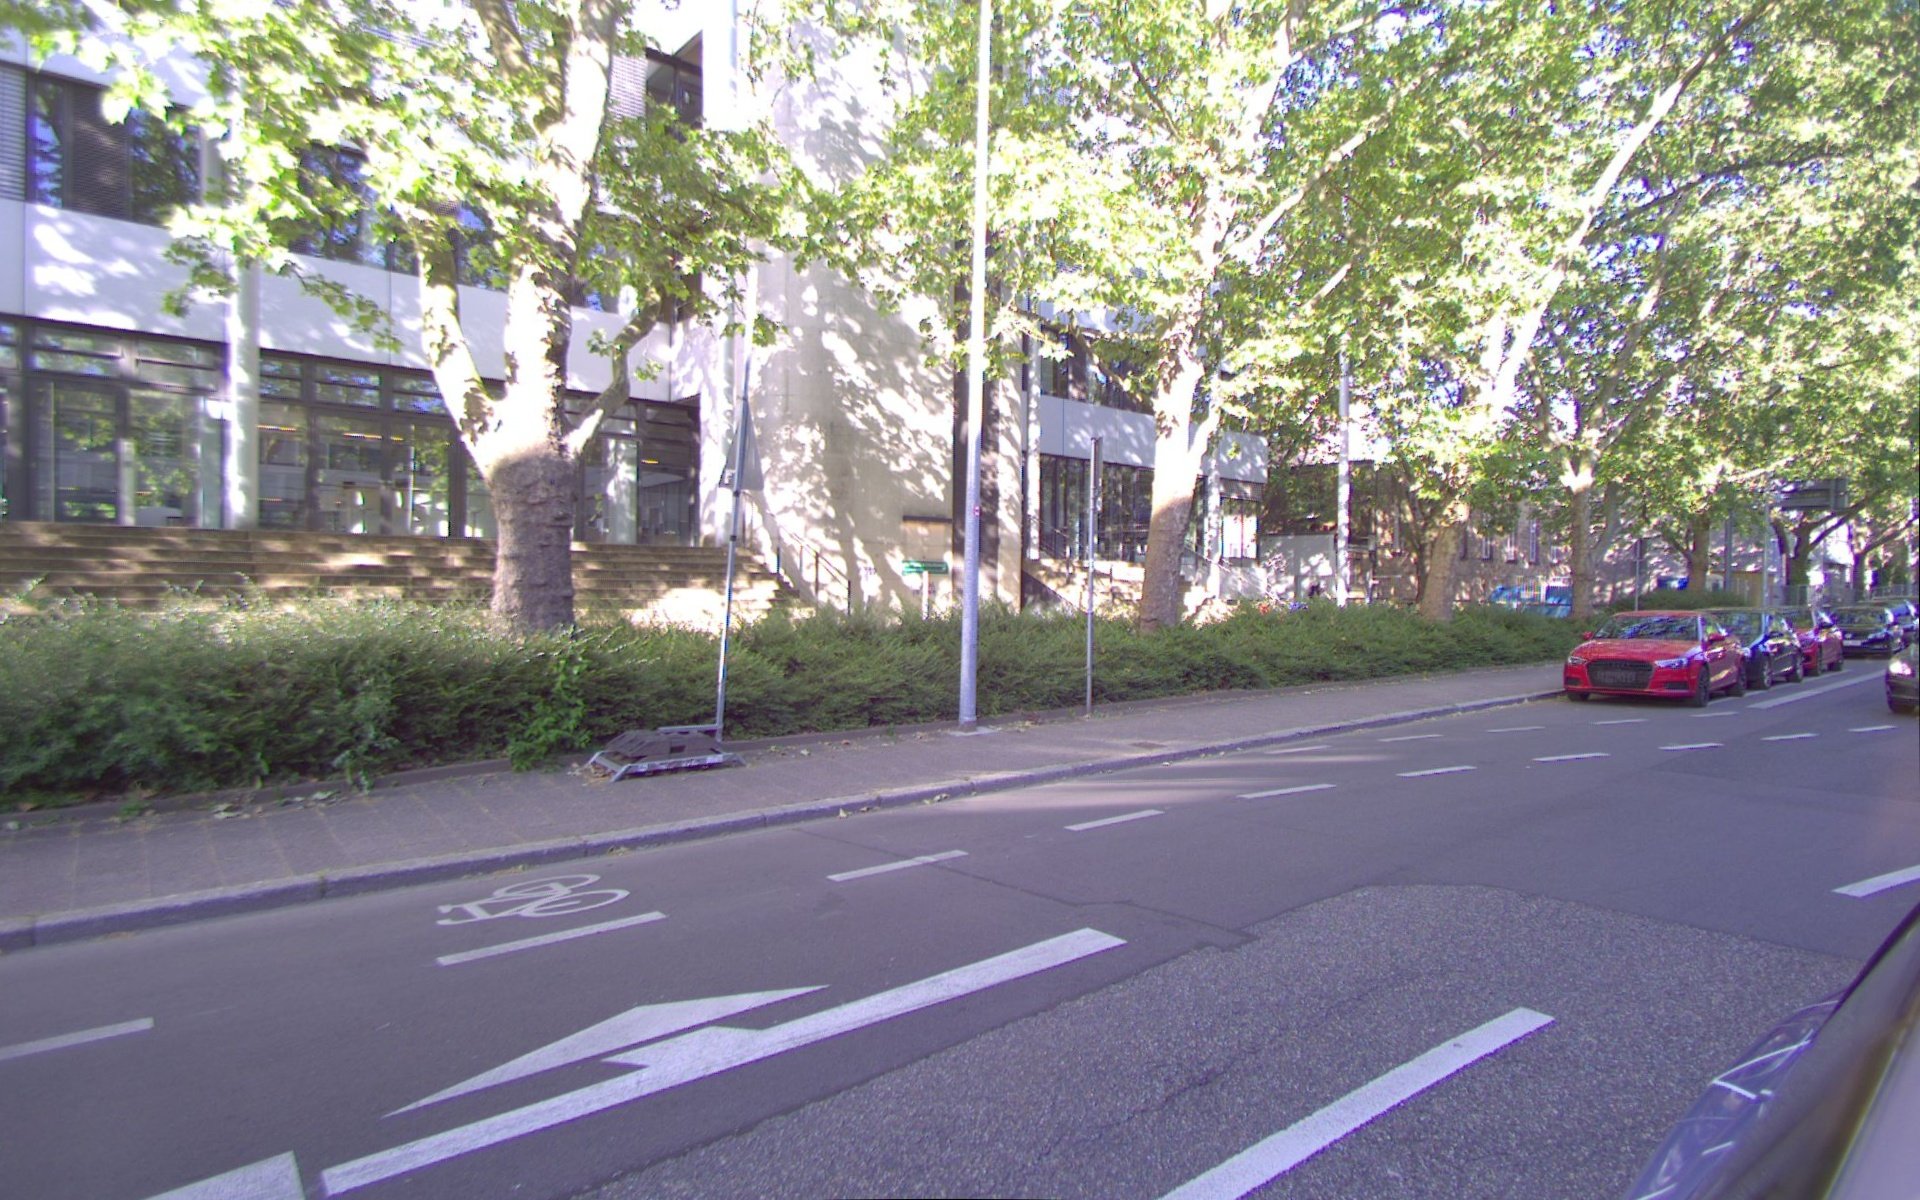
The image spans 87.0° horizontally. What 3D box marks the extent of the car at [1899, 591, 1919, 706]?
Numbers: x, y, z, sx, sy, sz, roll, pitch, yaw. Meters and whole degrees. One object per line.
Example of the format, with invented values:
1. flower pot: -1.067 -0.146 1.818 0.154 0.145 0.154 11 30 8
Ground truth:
1. car: 14.553 0.646 13.852 3.899 1.501 1.650 0 1 -34

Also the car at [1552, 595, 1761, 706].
1. car: 11.216 0.719 16.187 4.071 1.548 1.827 0 -1 -42

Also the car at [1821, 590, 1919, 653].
1. car: 25.977 0.552 28.789 4.022 1.653 1.739 0 1 -42

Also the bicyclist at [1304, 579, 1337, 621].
1. bicyclist: 14.276 -0.006 40.118 0.684 1.640 1.038 0 0 -32

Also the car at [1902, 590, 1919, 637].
1. car: 38.789 0.519 40.143 3.829 1.818 1.739 0 1 -42

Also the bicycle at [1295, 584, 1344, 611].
1. bicycle: 14.247 -0.097 40.159 0.720 1.027 1.801 0 0 -32

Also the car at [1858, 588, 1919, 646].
1. car: 29.716 0.499 31.950 3.840 1.708 1.633 0 1 -42

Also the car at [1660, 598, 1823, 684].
1. car: 14.961 0.714 19.304 4.022 1.472 1.739 0 -1 -42

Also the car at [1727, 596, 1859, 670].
1. car: 18.617 0.678 22.563 3.851 1.511 1.679 0 -1 -42
